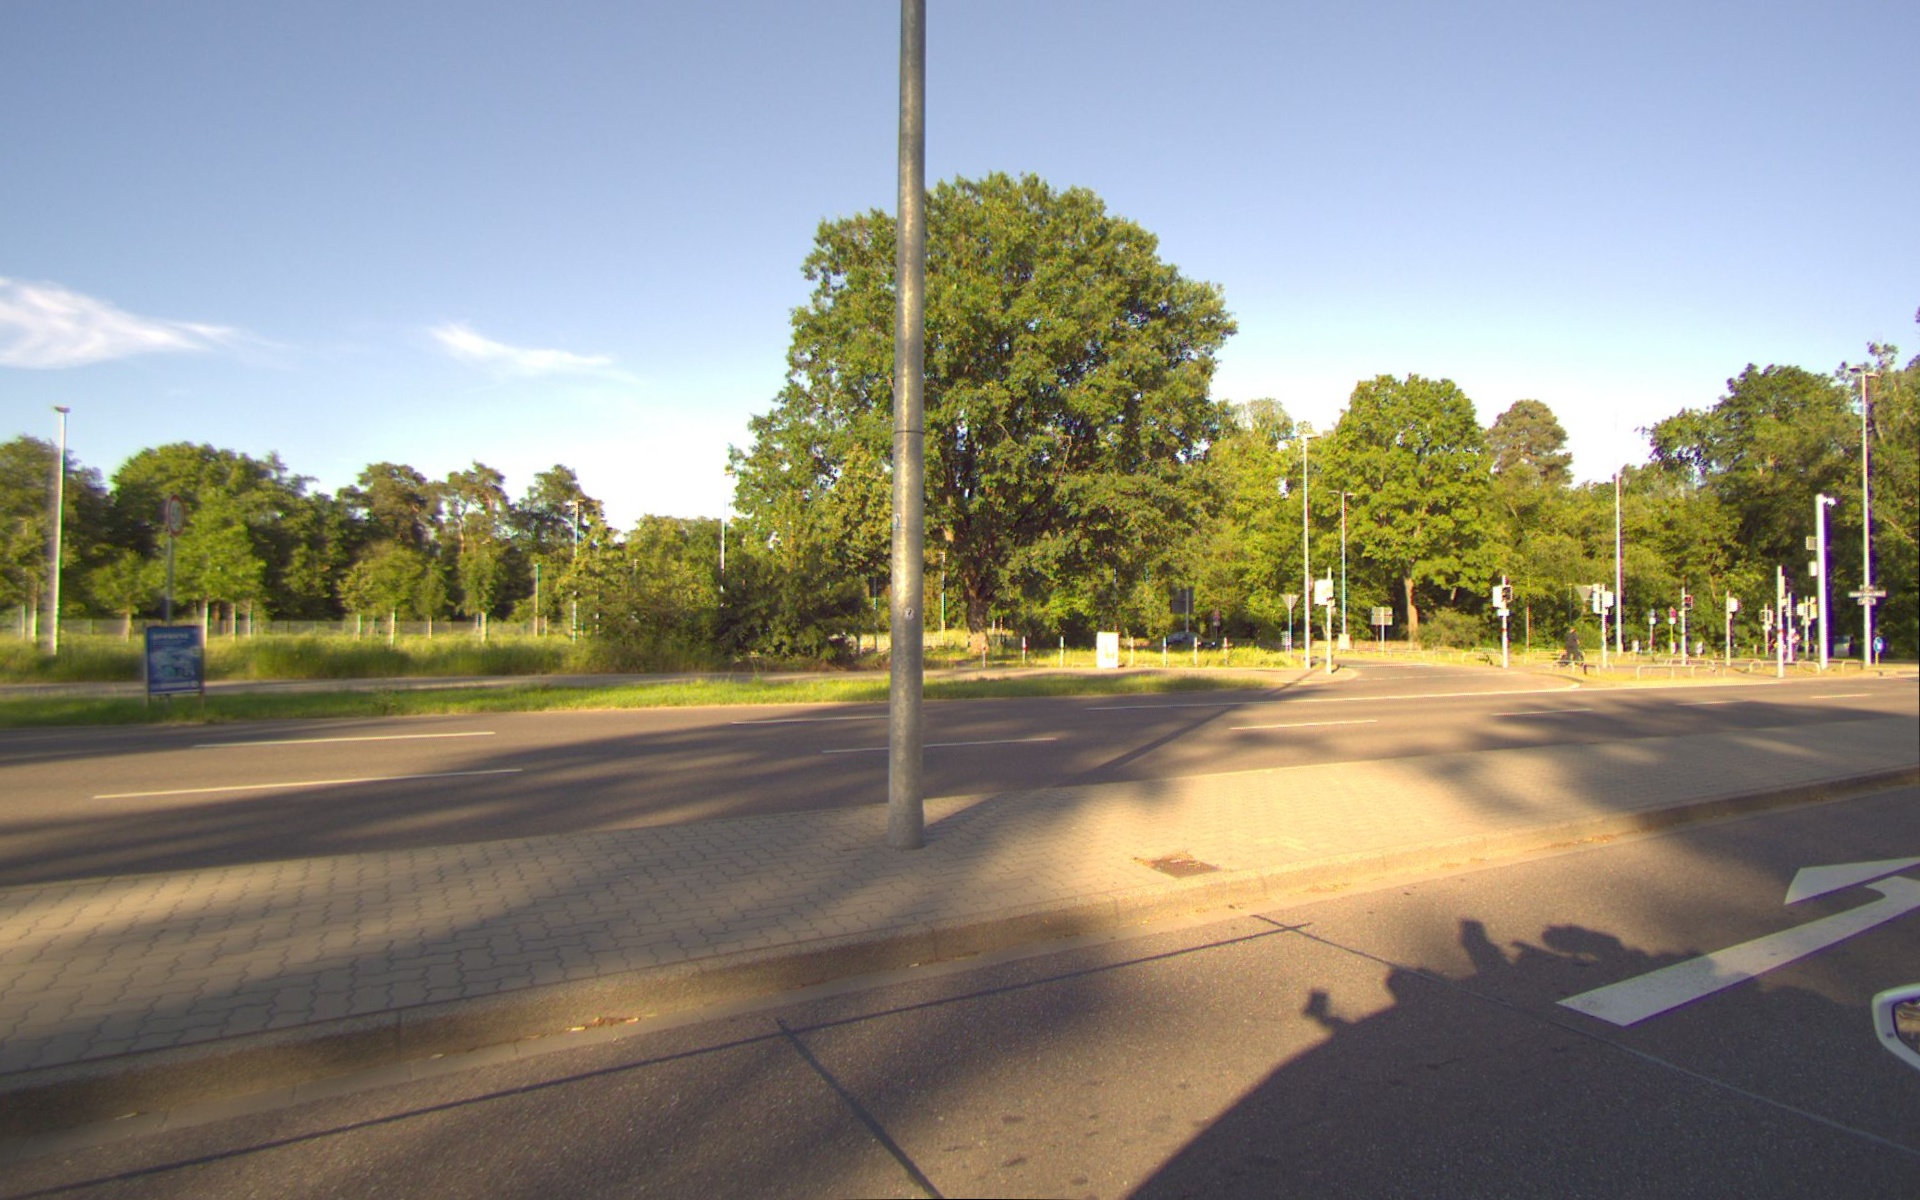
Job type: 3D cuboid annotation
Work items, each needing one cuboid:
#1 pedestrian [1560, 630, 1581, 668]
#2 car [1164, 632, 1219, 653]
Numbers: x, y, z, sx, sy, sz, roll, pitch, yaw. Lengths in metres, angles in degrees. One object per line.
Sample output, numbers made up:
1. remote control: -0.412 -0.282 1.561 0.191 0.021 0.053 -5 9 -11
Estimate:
1. pedestrian: 25.935 2.082 42.680 0.636 1.580 0.539 0 -2 18
2. car: 16.566 3.047 72.109 1.728 1.405 4.092 1 -2 -24
